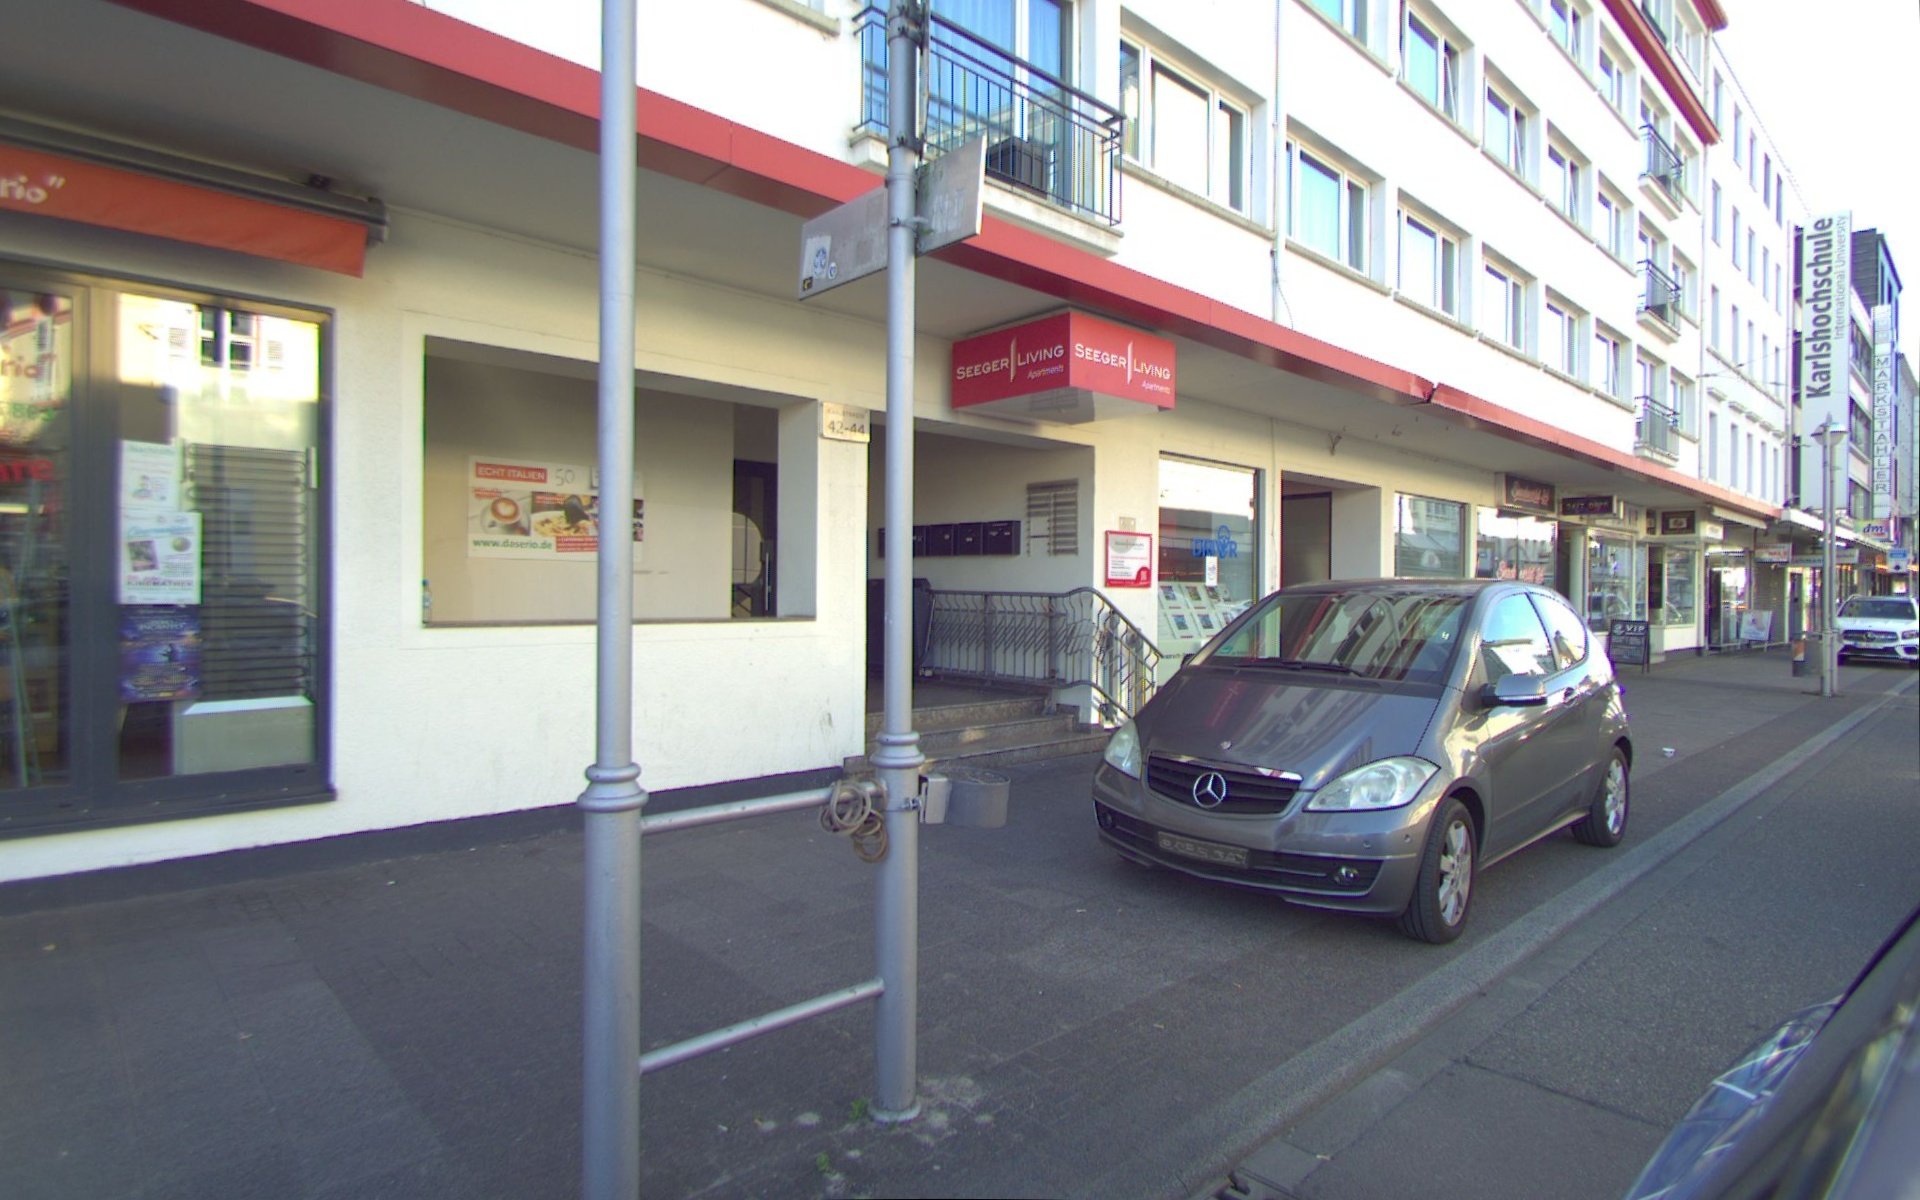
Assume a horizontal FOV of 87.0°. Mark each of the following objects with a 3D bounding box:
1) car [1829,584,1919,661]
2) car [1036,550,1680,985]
[{"bbox_3d":[22.397,0.475,24.303,4.092,1.684,1.781,-1,2,-42],"label":"car"},{"bbox_3d":[2.418,0.559,5.651,3.893,1.588,1.780,-1,2,-42],"label":"car"}]
